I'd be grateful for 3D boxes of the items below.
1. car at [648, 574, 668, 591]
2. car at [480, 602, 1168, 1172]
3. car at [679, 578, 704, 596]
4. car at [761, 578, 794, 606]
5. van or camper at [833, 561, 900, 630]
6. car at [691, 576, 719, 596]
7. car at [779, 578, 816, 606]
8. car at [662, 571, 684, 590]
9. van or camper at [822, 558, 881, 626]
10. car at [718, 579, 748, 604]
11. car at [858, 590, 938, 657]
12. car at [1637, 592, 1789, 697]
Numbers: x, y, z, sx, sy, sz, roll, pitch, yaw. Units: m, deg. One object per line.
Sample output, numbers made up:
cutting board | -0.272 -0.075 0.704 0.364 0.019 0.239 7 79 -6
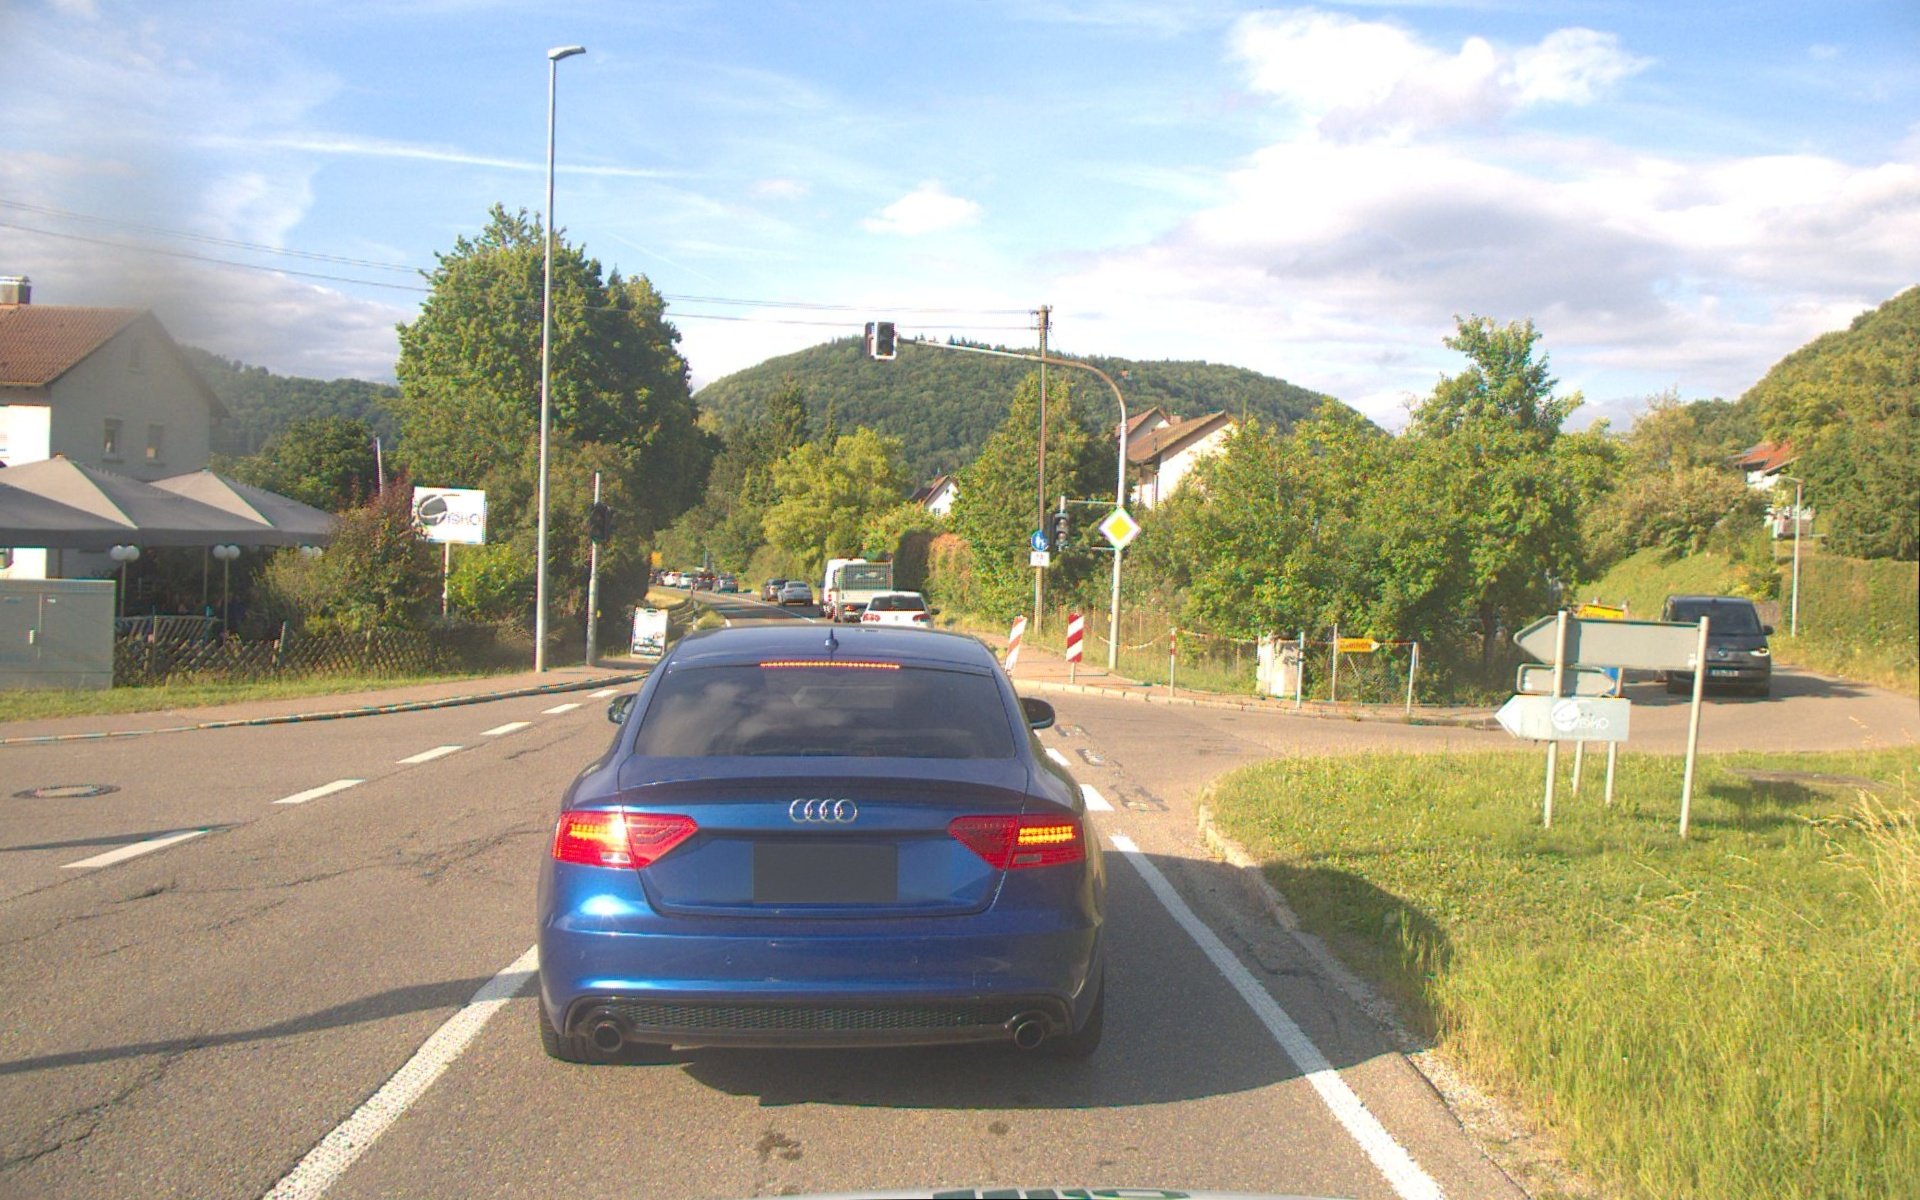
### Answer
car | -32.346 -1.879 177.093 1.743 1.814 3.983 0 1 -16
car | -0.434 0.748 6.454 1.793 1.433 4.224 0 0 -2
car | -25.309 -1.214 156.011 1.910 1.713 3.983 0 0 -16
car | -12.018 -0.535 108.857 1.765 1.825 3.988 0 1 -12
van or camper | -3.504 -0.195 60.800 2.138 2.426 5.362 0 1 -7
car | -22.805 -1.276 147.608 2.007 1.713 3.983 0 1 -16
car | -9.557 -0.482 97.188 1.787 1.579 3.989 0 1 -11
car | -28.609 -1.929 164.781 1.720 1.814 3.983 0 1 -16
van or camper | -5.017 -0.382 75.392 2.369 2.955 6.123 0 1 -7
car | -18.716 -0.730 136.215 1.960 2.049 3.984 0 0 -15
car | -1.469 0.518 39.148 1.736 1.439 4.172 2 0 -2
car | 15.537 0.835 34.392 1.951 1.909 4.875 3 1 14
